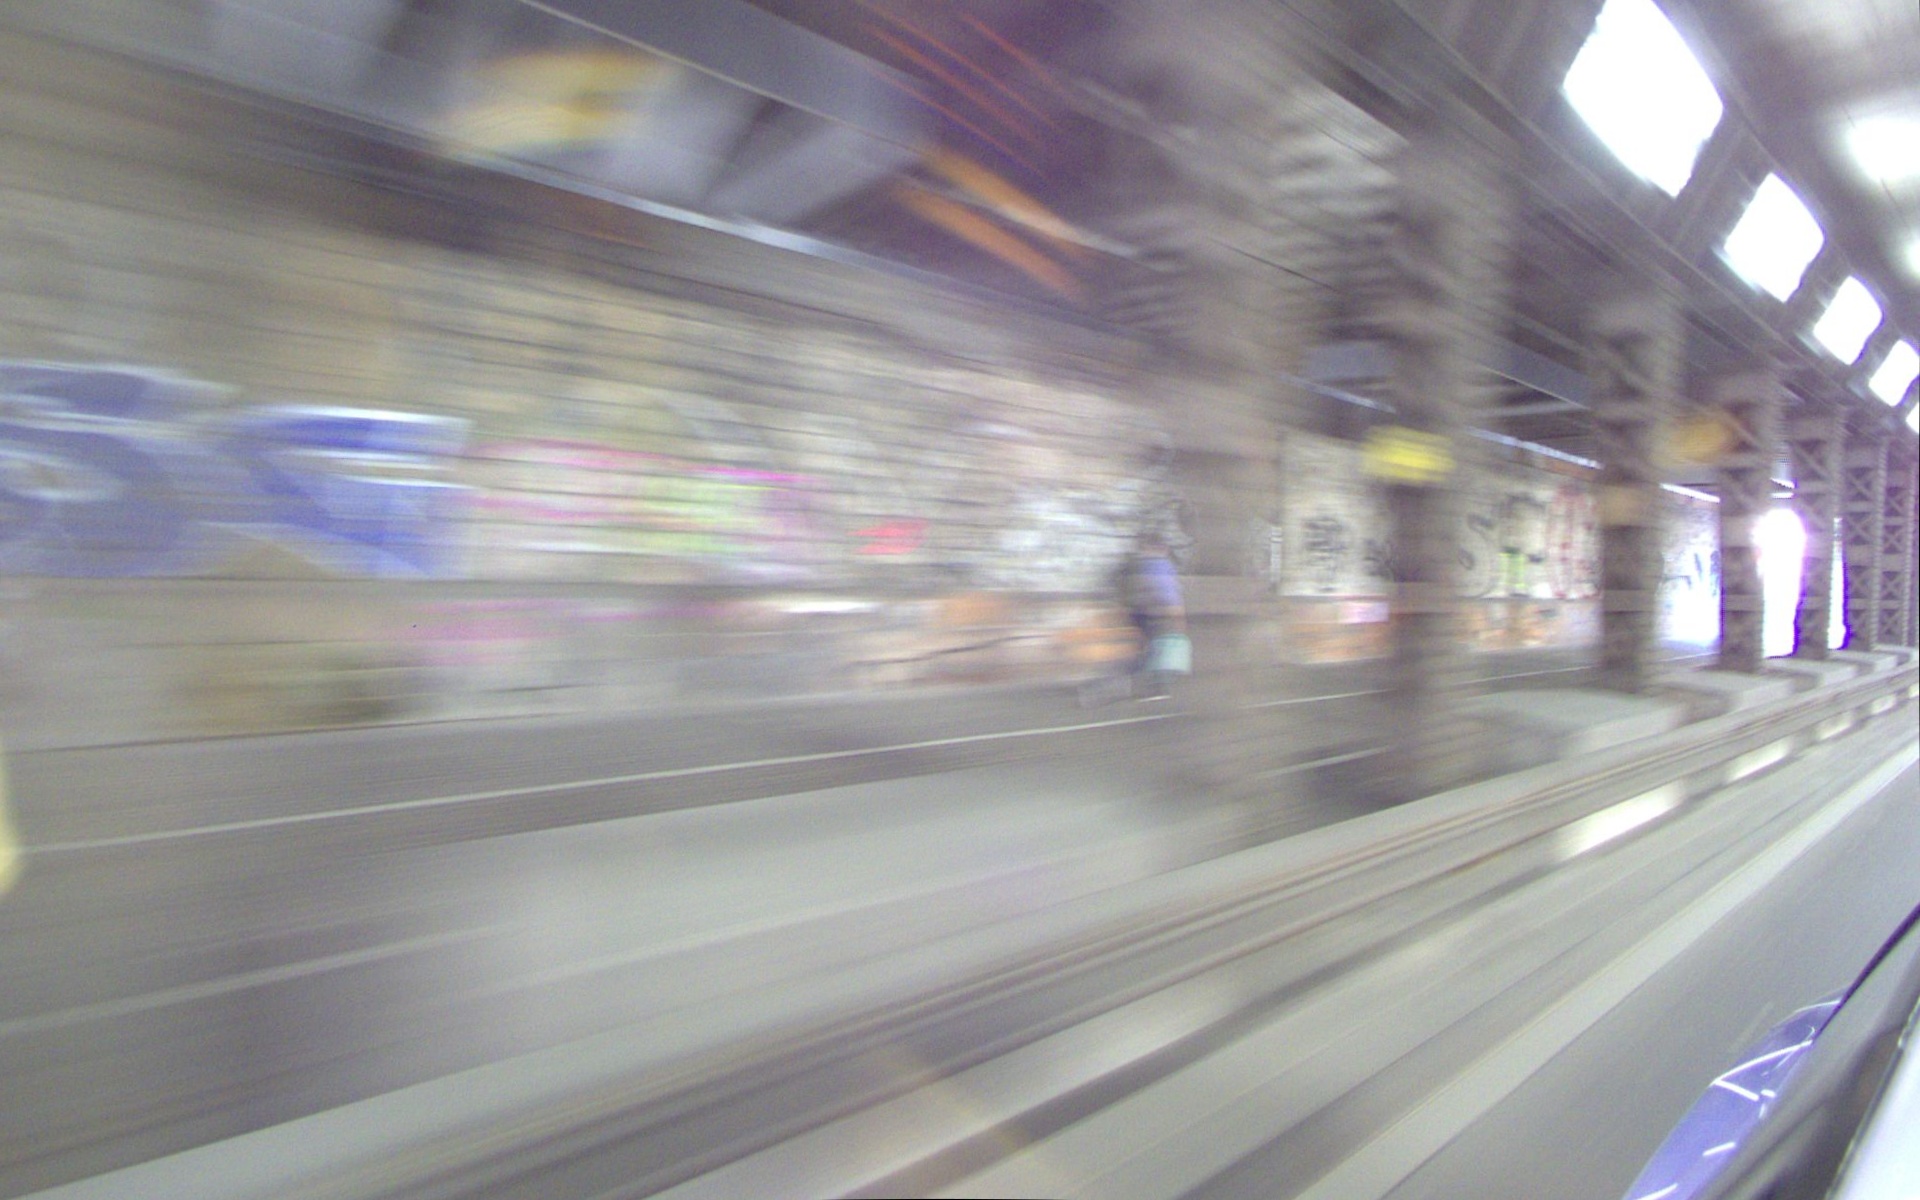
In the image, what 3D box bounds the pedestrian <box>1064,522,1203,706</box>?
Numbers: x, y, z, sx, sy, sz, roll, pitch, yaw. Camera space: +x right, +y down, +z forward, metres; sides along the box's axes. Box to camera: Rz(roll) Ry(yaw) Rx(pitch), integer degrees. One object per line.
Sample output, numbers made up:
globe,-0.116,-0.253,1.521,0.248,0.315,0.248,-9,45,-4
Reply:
pedestrian,1.727,0.110,10.082,1.092,1.722,0.801,0,3,-41
